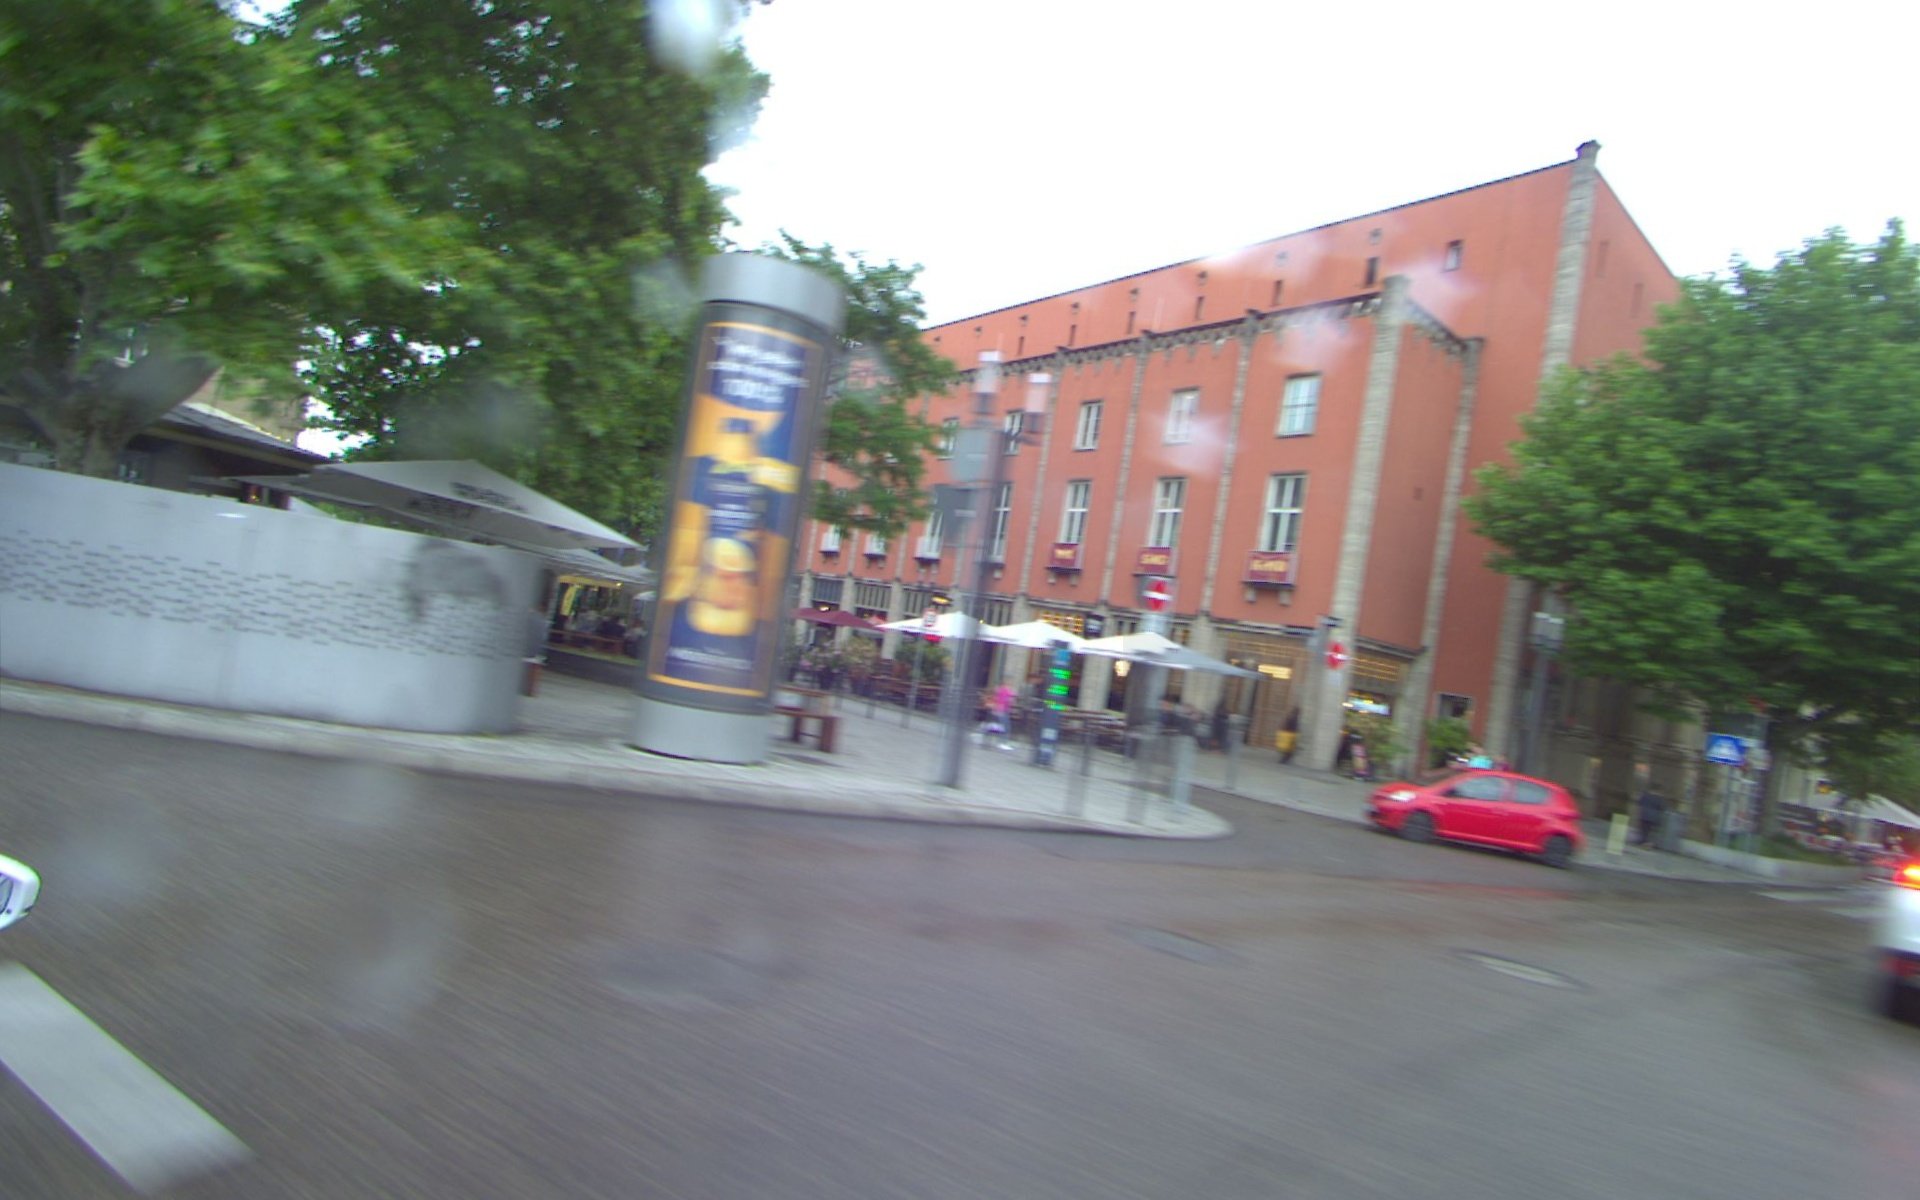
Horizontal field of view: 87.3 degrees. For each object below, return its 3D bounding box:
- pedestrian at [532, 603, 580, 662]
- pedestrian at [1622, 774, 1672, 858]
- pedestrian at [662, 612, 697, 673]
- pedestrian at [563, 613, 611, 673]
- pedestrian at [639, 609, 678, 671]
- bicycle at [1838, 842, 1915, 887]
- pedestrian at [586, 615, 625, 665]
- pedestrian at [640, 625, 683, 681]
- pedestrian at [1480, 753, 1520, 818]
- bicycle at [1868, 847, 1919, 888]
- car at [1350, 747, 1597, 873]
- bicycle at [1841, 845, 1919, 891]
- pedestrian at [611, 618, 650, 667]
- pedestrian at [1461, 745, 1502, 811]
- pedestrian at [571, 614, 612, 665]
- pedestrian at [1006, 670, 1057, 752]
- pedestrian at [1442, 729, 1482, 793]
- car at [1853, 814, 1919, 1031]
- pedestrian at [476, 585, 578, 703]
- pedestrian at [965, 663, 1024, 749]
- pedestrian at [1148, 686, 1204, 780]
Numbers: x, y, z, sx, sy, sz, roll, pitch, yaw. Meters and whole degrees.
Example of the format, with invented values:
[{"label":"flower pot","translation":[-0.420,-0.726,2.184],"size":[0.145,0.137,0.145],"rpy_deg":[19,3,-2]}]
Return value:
[{"label":"pedestrian","translation":[-9.501,0.760,23.646],"size":[0.599,1.263,0.630],"rpy_deg":[6,-5,33]},{"label":"pedestrian","translation":[16.537,5.181,24.204],"size":[0.796,1.828,0.609],"rpy_deg":[7,-3,36]},{"label":"pedestrian","translation":[-9.082,1.379,32.548],"size":[0.627,1.850,0.603],"rpy_deg":[12,-5,-41]},{"label":"pedestrian","translation":[-8.680,1.004,23.408],"size":[0.599,1.263,0.630],"rpy_deg":[6,-5,33]},{"label":"pedestrian","translation":[-9.600,1.283,32.059],"size":[0.744,1.850,0.603],"rpy_deg":[12,-5,-41]},{"label":"bicycle","translation":[30.025,8.654,32.969],"size":[0.519,0.995,1.736],"rpy_deg":[11,-4,-41]},{"label":"pedestrian","translation":[-9.983,1.125,28.346],"size":[0.599,1.263,0.630],"rpy_deg":[6,-5,33]},{"label":"pedestrian","translation":[-7.481,1.323,25.216],"size":[0.599,1.263,0.630],"rpy_deg":[6,-5,33]},{"label":"pedestrian","translation":[14.407,4.948,26.841],"size":[0.602,1.614,0.751],"rpy_deg":[7,-4,44]},{"label":"bicycle","translation":[30.717,8.766,32.980],"size":[0.456,0.995,1.270],"rpy_deg":[11,-4,-41]},{"label":"car","translation":[9.103,3.702,18.075],"size":[3.462,1.430,1.618],"rpy_deg":[9,-3,8]},{"label":"bicycle","translation":[29.204,8.489,31.923],"size":[0.519,0.995,1.736],"rpy_deg":[11,-4,-41]},{"label":"pedestrian","translation":[-9.419,1.225,28.775],"size":[0.599,1.263,0.630],"rpy_deg":[6,-5,33]},{"label":"pedestrian","translation":[13.608,4.651,26.239],"size":[0.602,1.576,0.751],"rpy_deg":[7,-4,44]},{"label":"pedestrian","translation":[-10.026,1.073,27.405],"size":[0.599,1.263,0.630],"rpy_deg":[6,-5,33]},{"label":"pedestrian","translation":[1.701,2.636,23.832],"size":[0.736,1.799,0.591],"rpy_deg":[7,-3,39]},{"label":"pedestrian","translation":[13.656,4.376,27.362],"size":[0.602,1.614,0.751],"rpy_deg":[7,-4,44]},{"label":"car","translation":[9.561,3.060,9.032],"size":[4.094,1.636,1.840],"rpy_deg":[15,-6,-43]},{"label":"pedestrian","translation":[-5.881,0.599,13.676],"size":[0.890,1.424,0.686],"rpy_deg":[6,-5,33]},{"label":"pedestrian","translation":[0.793,2.424,22.952],"size":[0.861,1.799,0.692],"rpy_deg":[7,-3,39]},{"label":"pedestrian","translation":[4.883,3.001,22.781],"size":[0.620,1.954,0.781],"rpy_deg":[10,-3,-31]}]
